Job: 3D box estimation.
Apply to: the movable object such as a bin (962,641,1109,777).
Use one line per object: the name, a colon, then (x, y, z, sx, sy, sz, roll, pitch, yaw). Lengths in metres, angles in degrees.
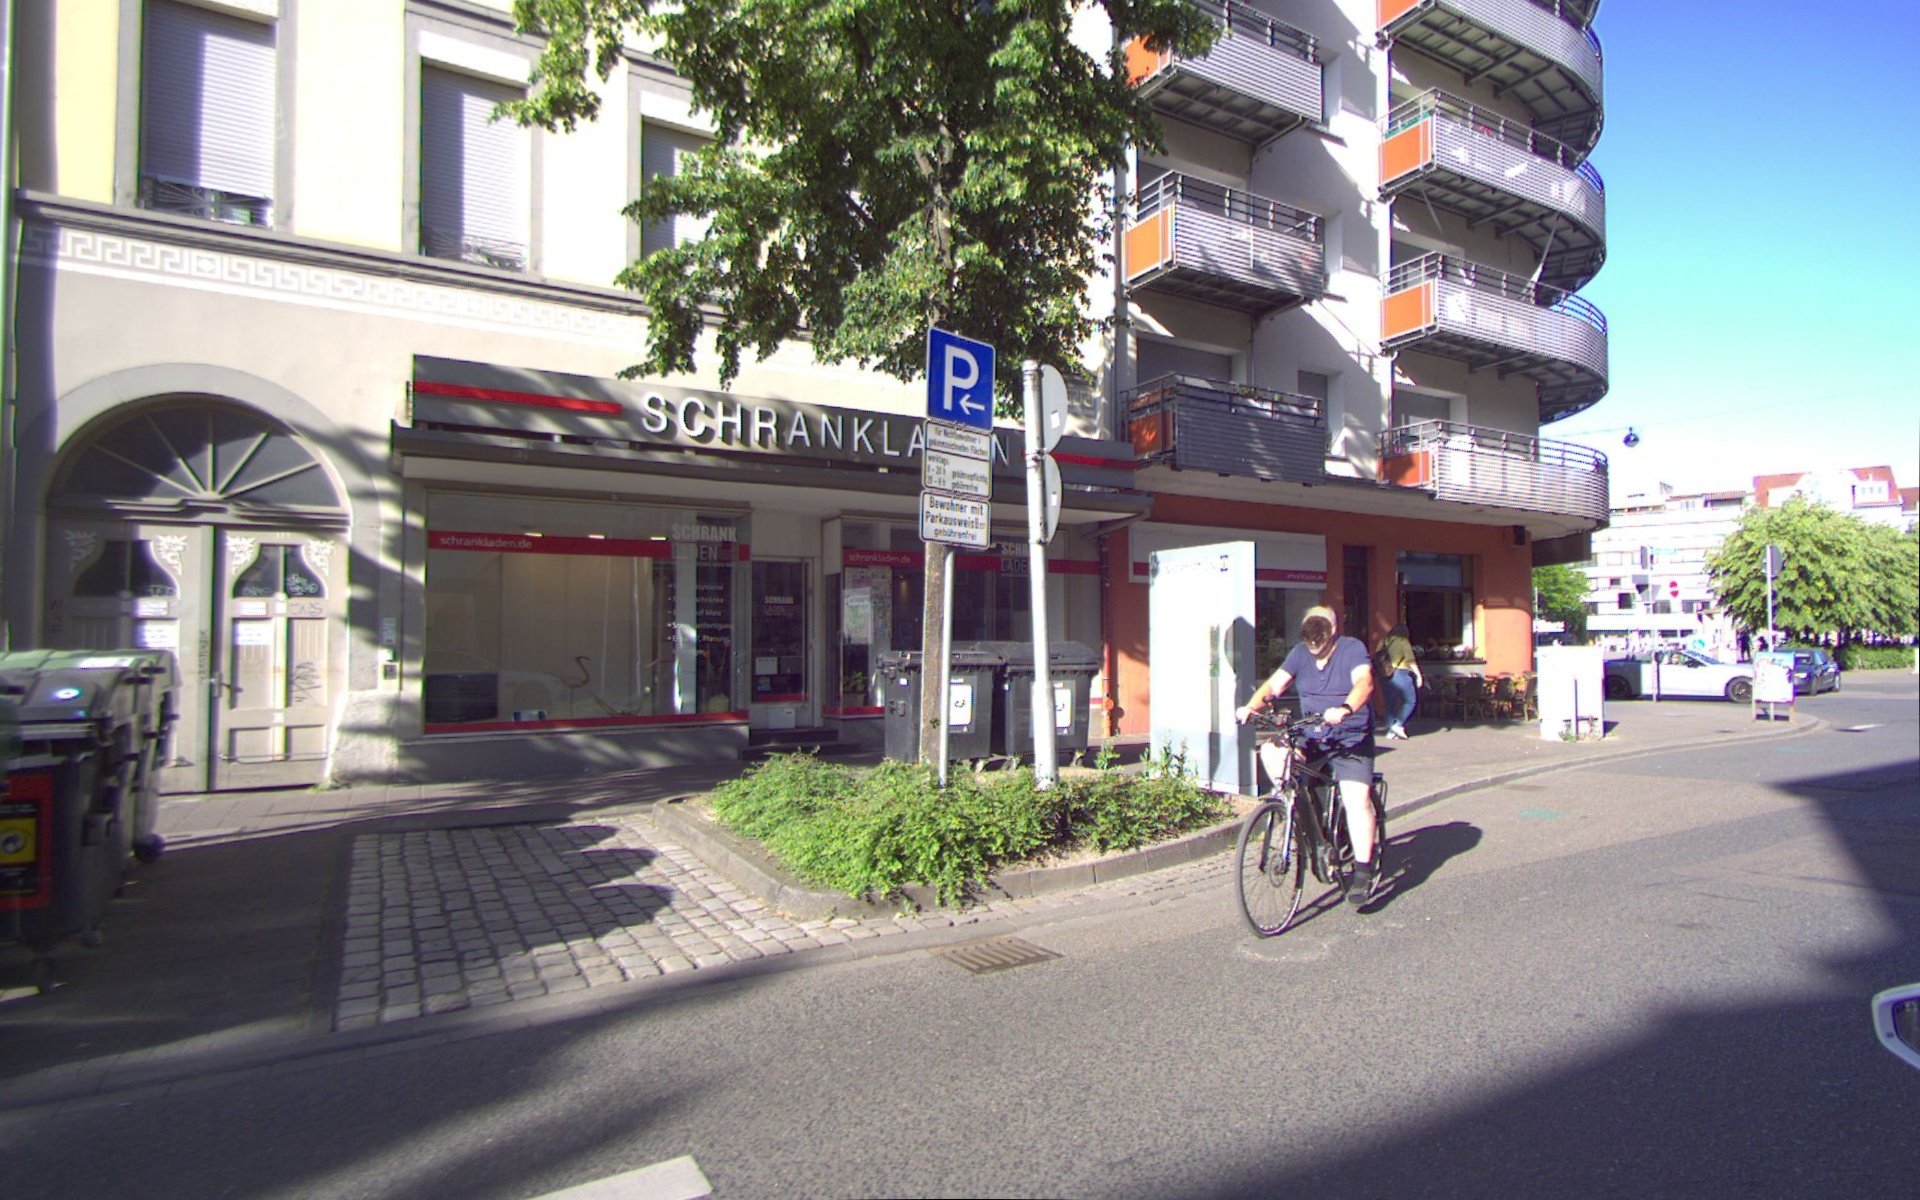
movable object such as a bin: (0.847, 1.182, 11.371, 1.299, 1.422, 1.037, 1, -3, -31)

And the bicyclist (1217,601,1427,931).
bicyclist: (2.068, 0.869, 5.722, 1.028, 1.674, 0.690, 2, -3, -42)

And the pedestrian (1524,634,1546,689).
pedestrian: (19.608, 2.100, 34.256, 0.577, 1.851, 0.558, -2, -3, 27)

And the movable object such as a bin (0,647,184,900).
movable object such as a bin: (-5.810, 1.054, 6.478, 1.130, 1.491, 1.037, 1, -3, -31)

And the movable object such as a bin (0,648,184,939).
movable object such as a bin: (-5.138, 1.017, 5.610, 1.130, 1.491, 0.959, 1, -3, -31)

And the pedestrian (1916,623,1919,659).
pedestrian: (57.412, 2.446, 59.425, 0.949, 2.136, 0.734, 0, -2, -8)

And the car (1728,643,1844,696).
car: (25.970, 2.127, 31.533, 4.495, 1.441, 1.736, 0, -2, -36)

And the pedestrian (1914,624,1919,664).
pedestrian: (51.602, 2.330, 53.444, 0.949, 2.136, 0.734, 0, -2, -8)

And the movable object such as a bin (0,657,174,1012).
movable object such as a bin: (-4.449, 1.019, 4.644, 1.130, 1.491, 1.037, 1, -3, -31)

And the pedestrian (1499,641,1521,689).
pedestrian: (18.952, 2.219, 34.596, 0.605, 1.634, 0.582, -2, -3, 27)

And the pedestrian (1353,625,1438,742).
pedestrian: (6.482, 1.218, 14.963, 1.024, 1.681, 0.661, 1, -2, -31)

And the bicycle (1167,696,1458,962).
bicycle: (2.056, 1.177, 5.700, 1.953, 1.161, 0.699, 2, -3, -42)

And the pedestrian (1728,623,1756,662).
pedestrian: (43.349, 2.341, 55.679, 0.949, 2.136, 0.734, 0, -2, -8)

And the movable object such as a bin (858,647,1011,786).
movable object such as a bin: (-0.278, 1.188, 10.738, 1.299, 1.363, 1.037, 1, -3, -31)

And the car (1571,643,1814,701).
car: (19.810, 1.963, 27.359, 1.987, 1.441, 5.053, 2, -5, -44)

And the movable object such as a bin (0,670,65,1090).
movable object such as a bin: (-4.167, 1.007, 3.438, 1.436, 1.491, 1.037, 1, -3, -31)
